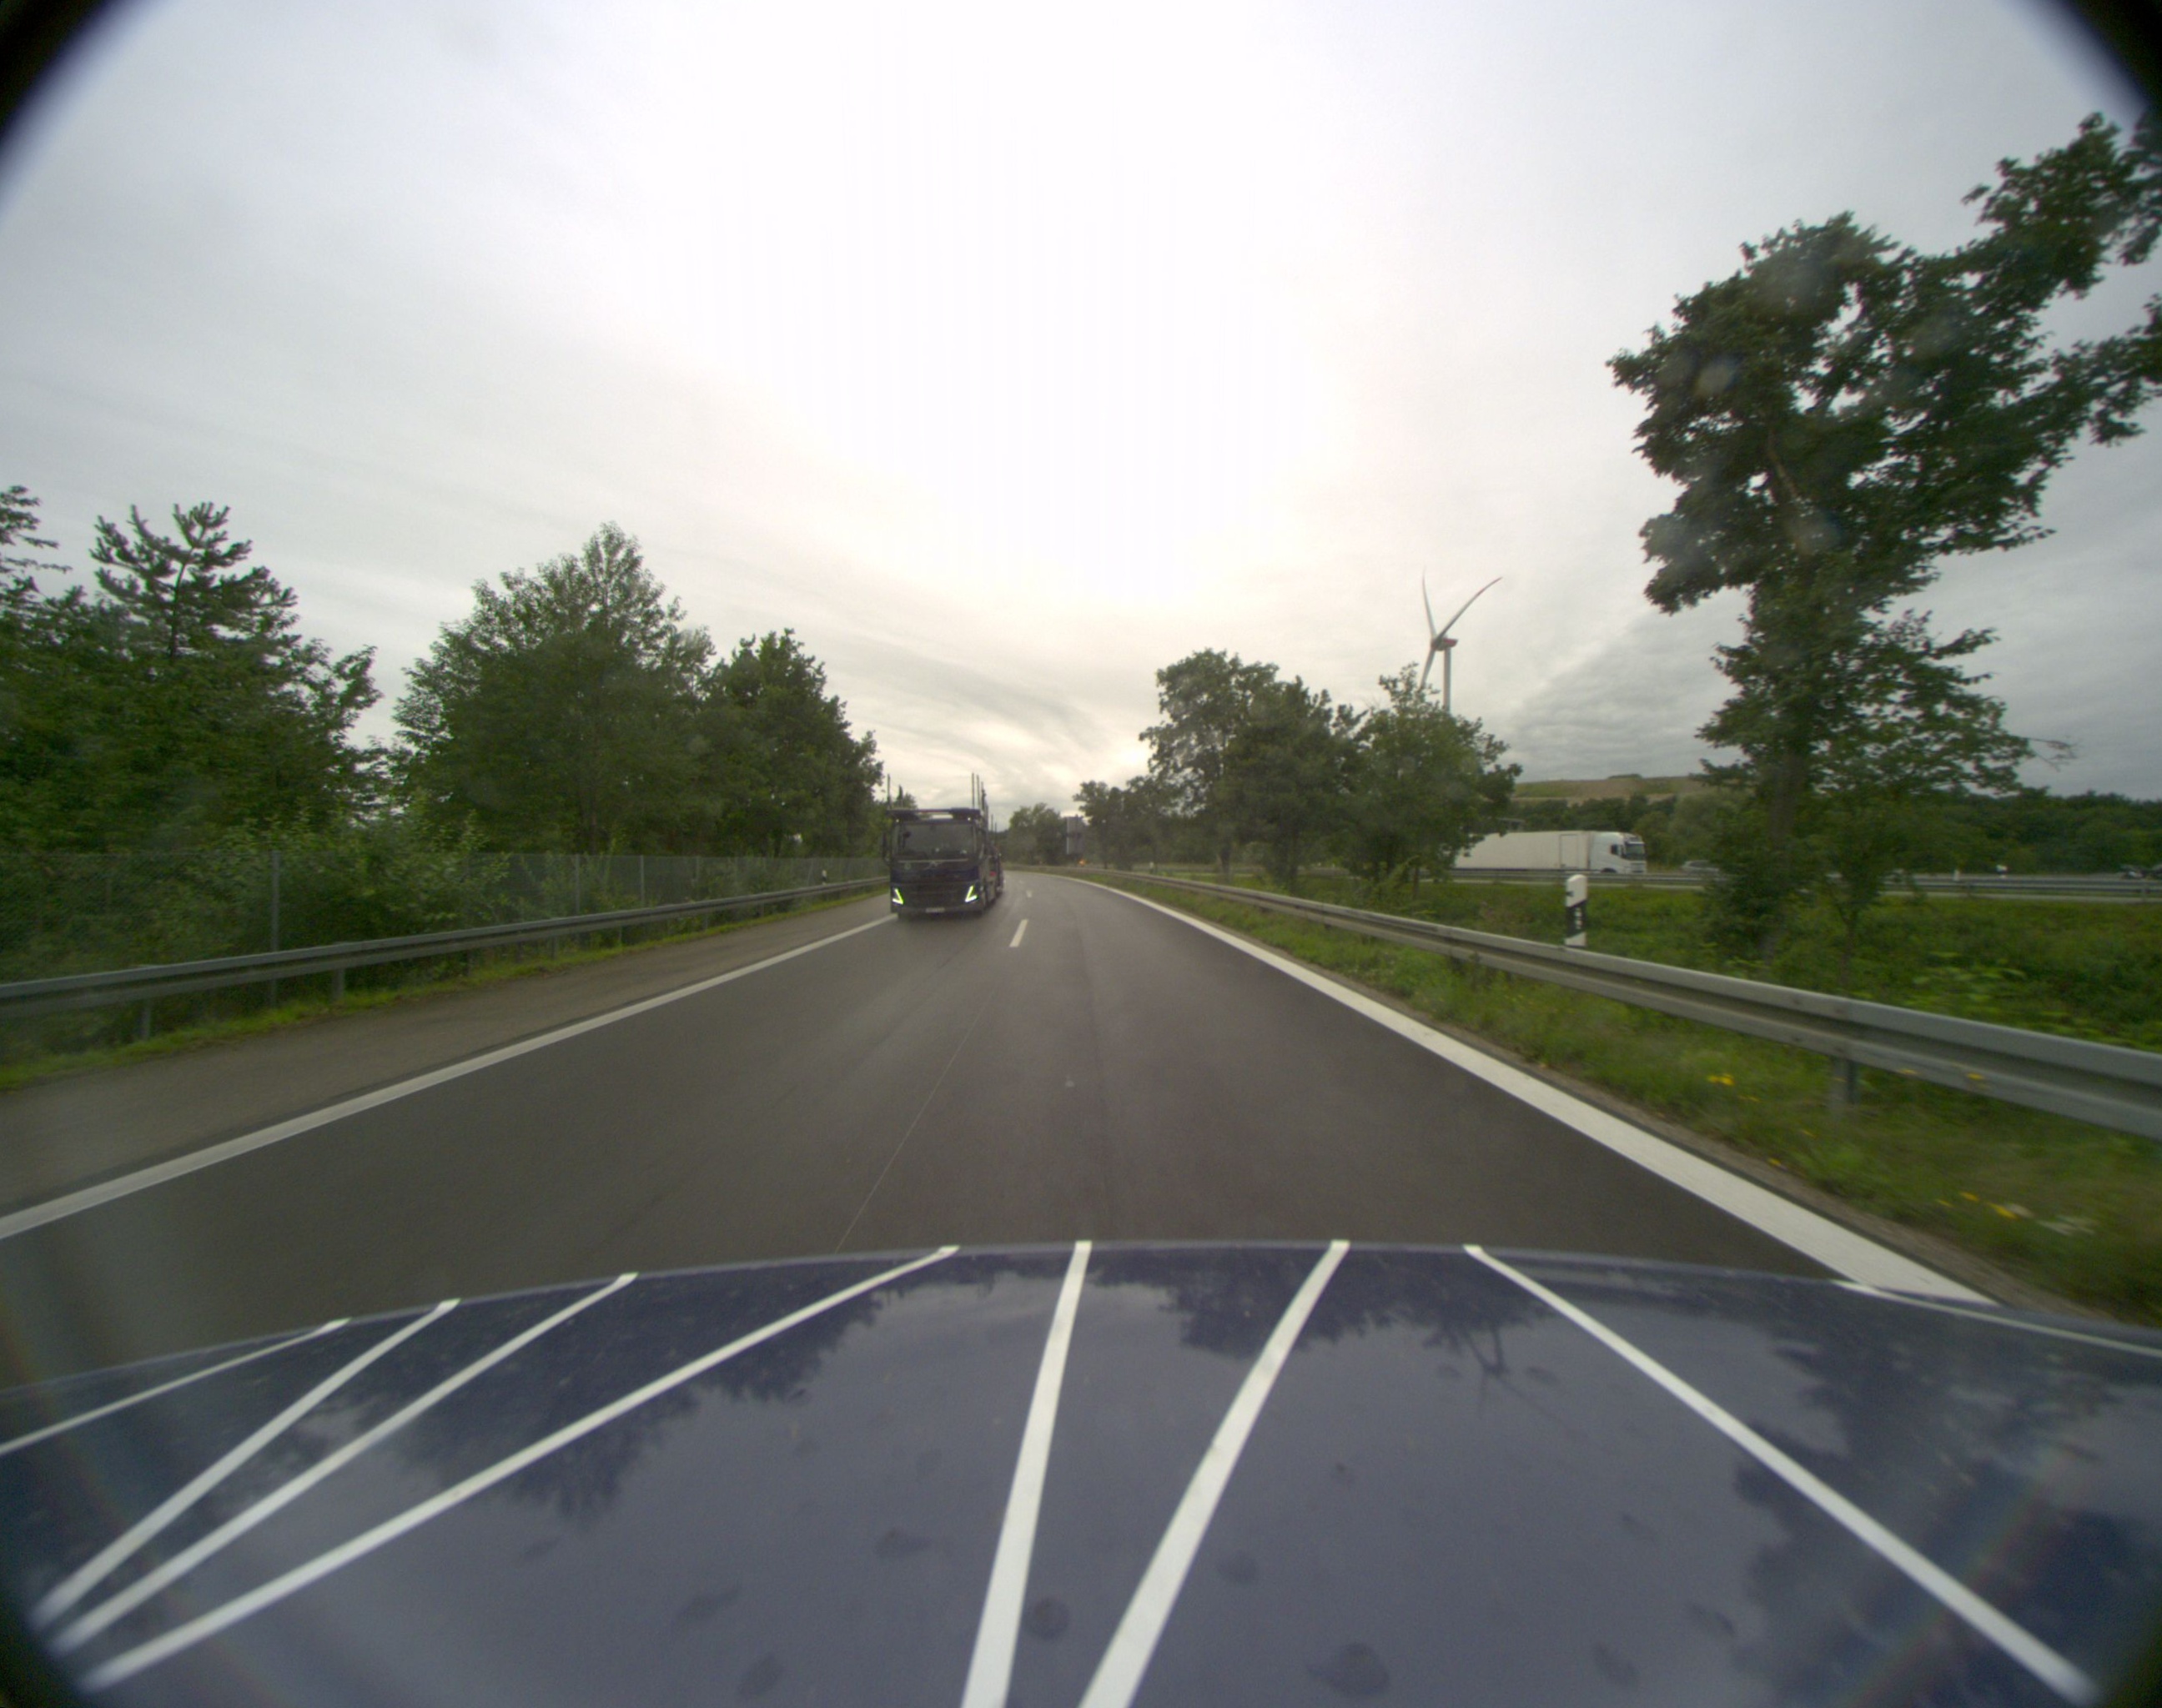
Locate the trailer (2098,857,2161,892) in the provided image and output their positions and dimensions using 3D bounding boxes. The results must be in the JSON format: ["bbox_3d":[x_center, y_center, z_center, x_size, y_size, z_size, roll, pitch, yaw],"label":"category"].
[{"bbox_3d":[51.064,0.973,35.708,1.891,1.617,3.603,0,0,-26],"label":"trailer"}]

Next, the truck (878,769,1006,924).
[{"bbox_3d":[-4.075,-0.161,24.399,2.746,3.944,9.126,-2,0,-3],"label":"truck"}]

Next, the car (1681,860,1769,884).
[{"bbox_3d":[46.643,1.257,55.112,1.907,1.641,4.476,0,0,-27],"label":"car"}]

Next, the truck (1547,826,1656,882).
[{"bbox_3d":[39.924,0.013,58.546,2.779,4.111,6.432,0,0,-26],"label":"truck"}]

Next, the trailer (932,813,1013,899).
[{"bbox_3d":[-4.607,0.115,34.232,2.785,3.265,10.404,0,0,-4],"label":"trailer"}]

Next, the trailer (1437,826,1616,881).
[{"bbox_3d":[37.104,-0.003,64.403,2.779,4.111,13.922,0,0,-26],"label":"trailer"}]
